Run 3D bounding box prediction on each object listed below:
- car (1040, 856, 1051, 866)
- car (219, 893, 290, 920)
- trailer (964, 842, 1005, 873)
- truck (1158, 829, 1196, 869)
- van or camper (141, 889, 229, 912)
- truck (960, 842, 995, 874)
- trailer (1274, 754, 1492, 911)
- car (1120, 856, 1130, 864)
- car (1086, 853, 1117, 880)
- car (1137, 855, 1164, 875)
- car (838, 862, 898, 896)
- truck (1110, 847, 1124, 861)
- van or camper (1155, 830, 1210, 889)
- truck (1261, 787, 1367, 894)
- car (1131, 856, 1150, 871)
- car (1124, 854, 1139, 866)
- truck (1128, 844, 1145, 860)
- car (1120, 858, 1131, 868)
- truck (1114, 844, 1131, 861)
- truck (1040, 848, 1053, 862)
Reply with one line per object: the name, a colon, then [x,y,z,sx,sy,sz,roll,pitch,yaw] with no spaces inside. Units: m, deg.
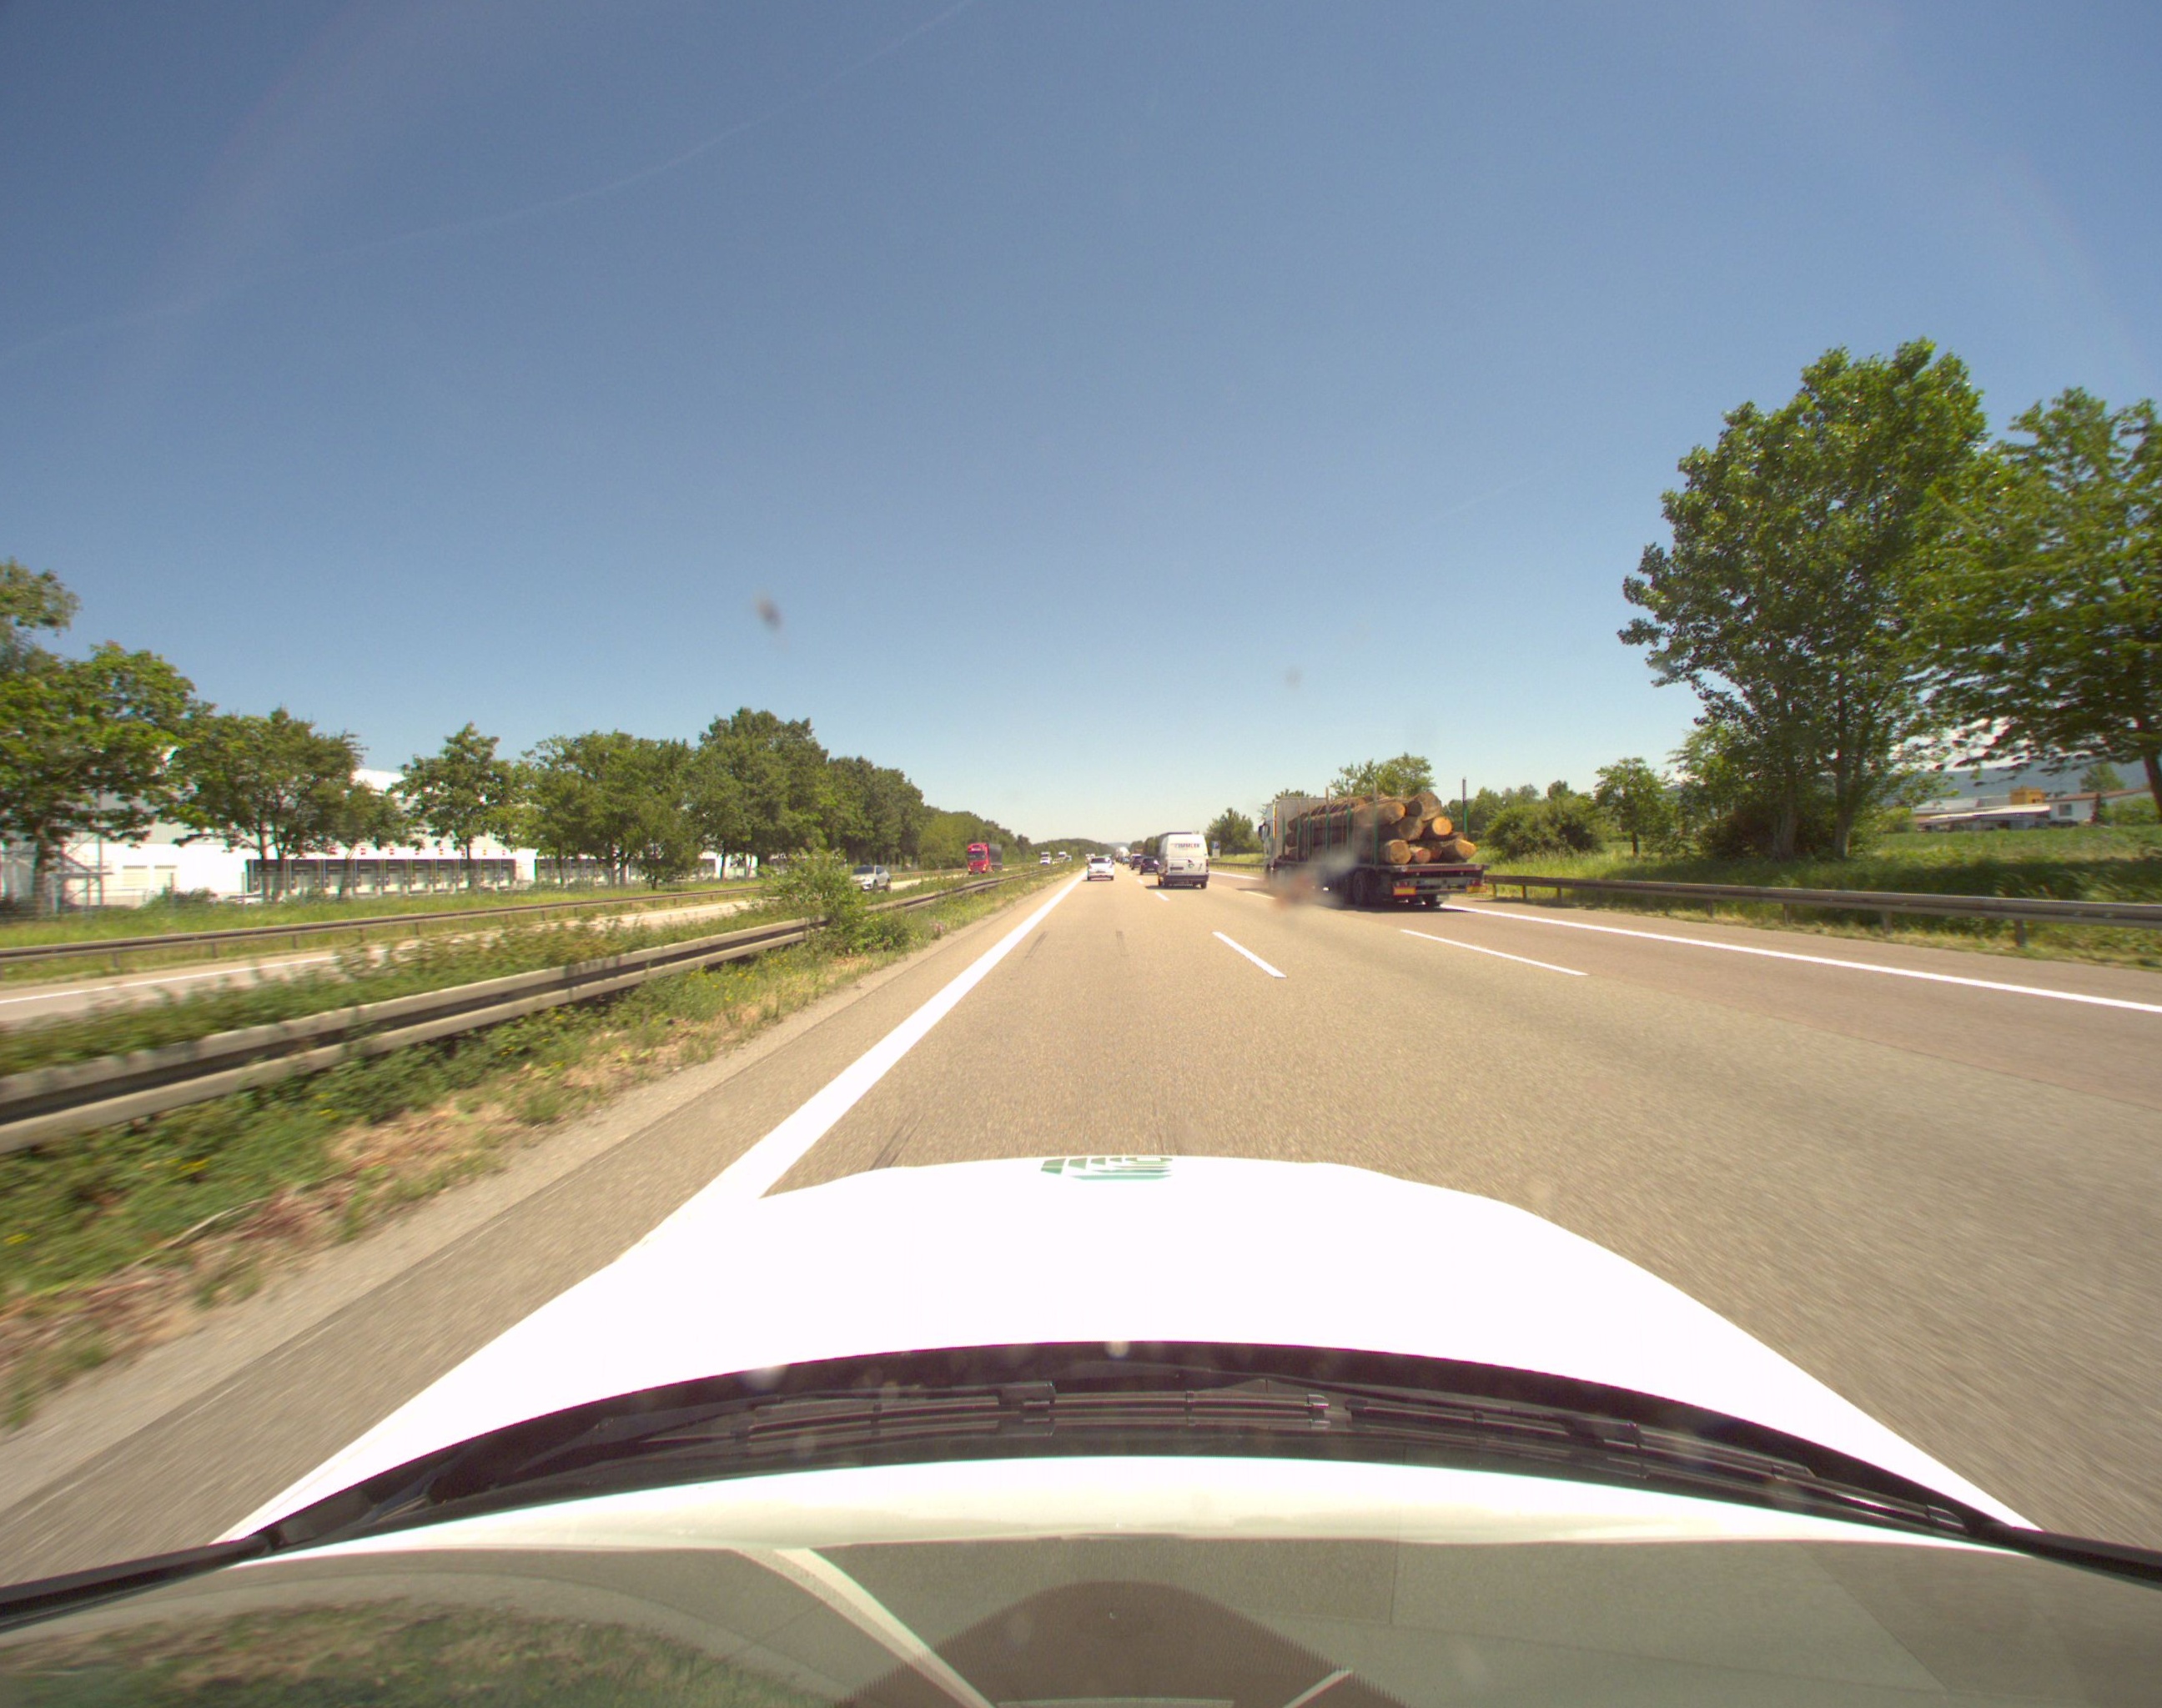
car: [-7.458,1.467,171.243,1.989,1.912,5.211,-3,0,0]
car: [-72.359,4.589,71.392,1.986,2.013,4.001,-3,0,1]
trailer: [-13.413,0.482,114.928,3.435,4.011,14.209,-4,0,2]
truck: [10.888,-0.526,94.194,3.067,4.209,16.851,0,0,2]
van or camper: [-77.629,4.021,70.690,1.986,1.652,5.022,-3,0,2]
truck: [-13.632,0.522,107.814,3.426,3.931,6.223,-4,0,2]
trailer: [9.284,-0.541,27.499,2.643,3.958,13.641,0,0,2]
car: [9.352,1.175,171.978,1.851,1.652,3.999,0,0,0]
car: [1.284,0.794,52.437,1.851,1.652,3.999,0,0,0]
car: [5.706,0.892,67.417,1.851,1.652,3.999,0,0,0]
car: [-11.804,1.365,45.498,1.839,1.682,4.816,-3,0,2]
truck: [10.887,0.064,245.254,3.248,4.209,16.836,0,0,-1]
van or camper: [4.854,0.246,39.669,2.051,2.622,5.987,-1,0,2]
truck: [9.460,-0.495,33.799,2.660,3.994,6.638,0,0,2]
car: [6.667,1.030,92.159,1.851,1.652,3.999,0,0,0]
car: [7.201,0.853,115.628,1.851,1.652,3.999,0,0,0]
truck: [14.699,-0.483,216.297,3.248,4.209,16.836,0,0,-1]
car: [8.039,1.615,147.174,1.851,1.652,3.999,0,0,0]
truck: [10.731,-0.403,210.942,3.248,4.209,16.836,0,0,-1]
truck: [-9.835,0.389,232.408,2.596,3.761,9.868,-3,0,2]
